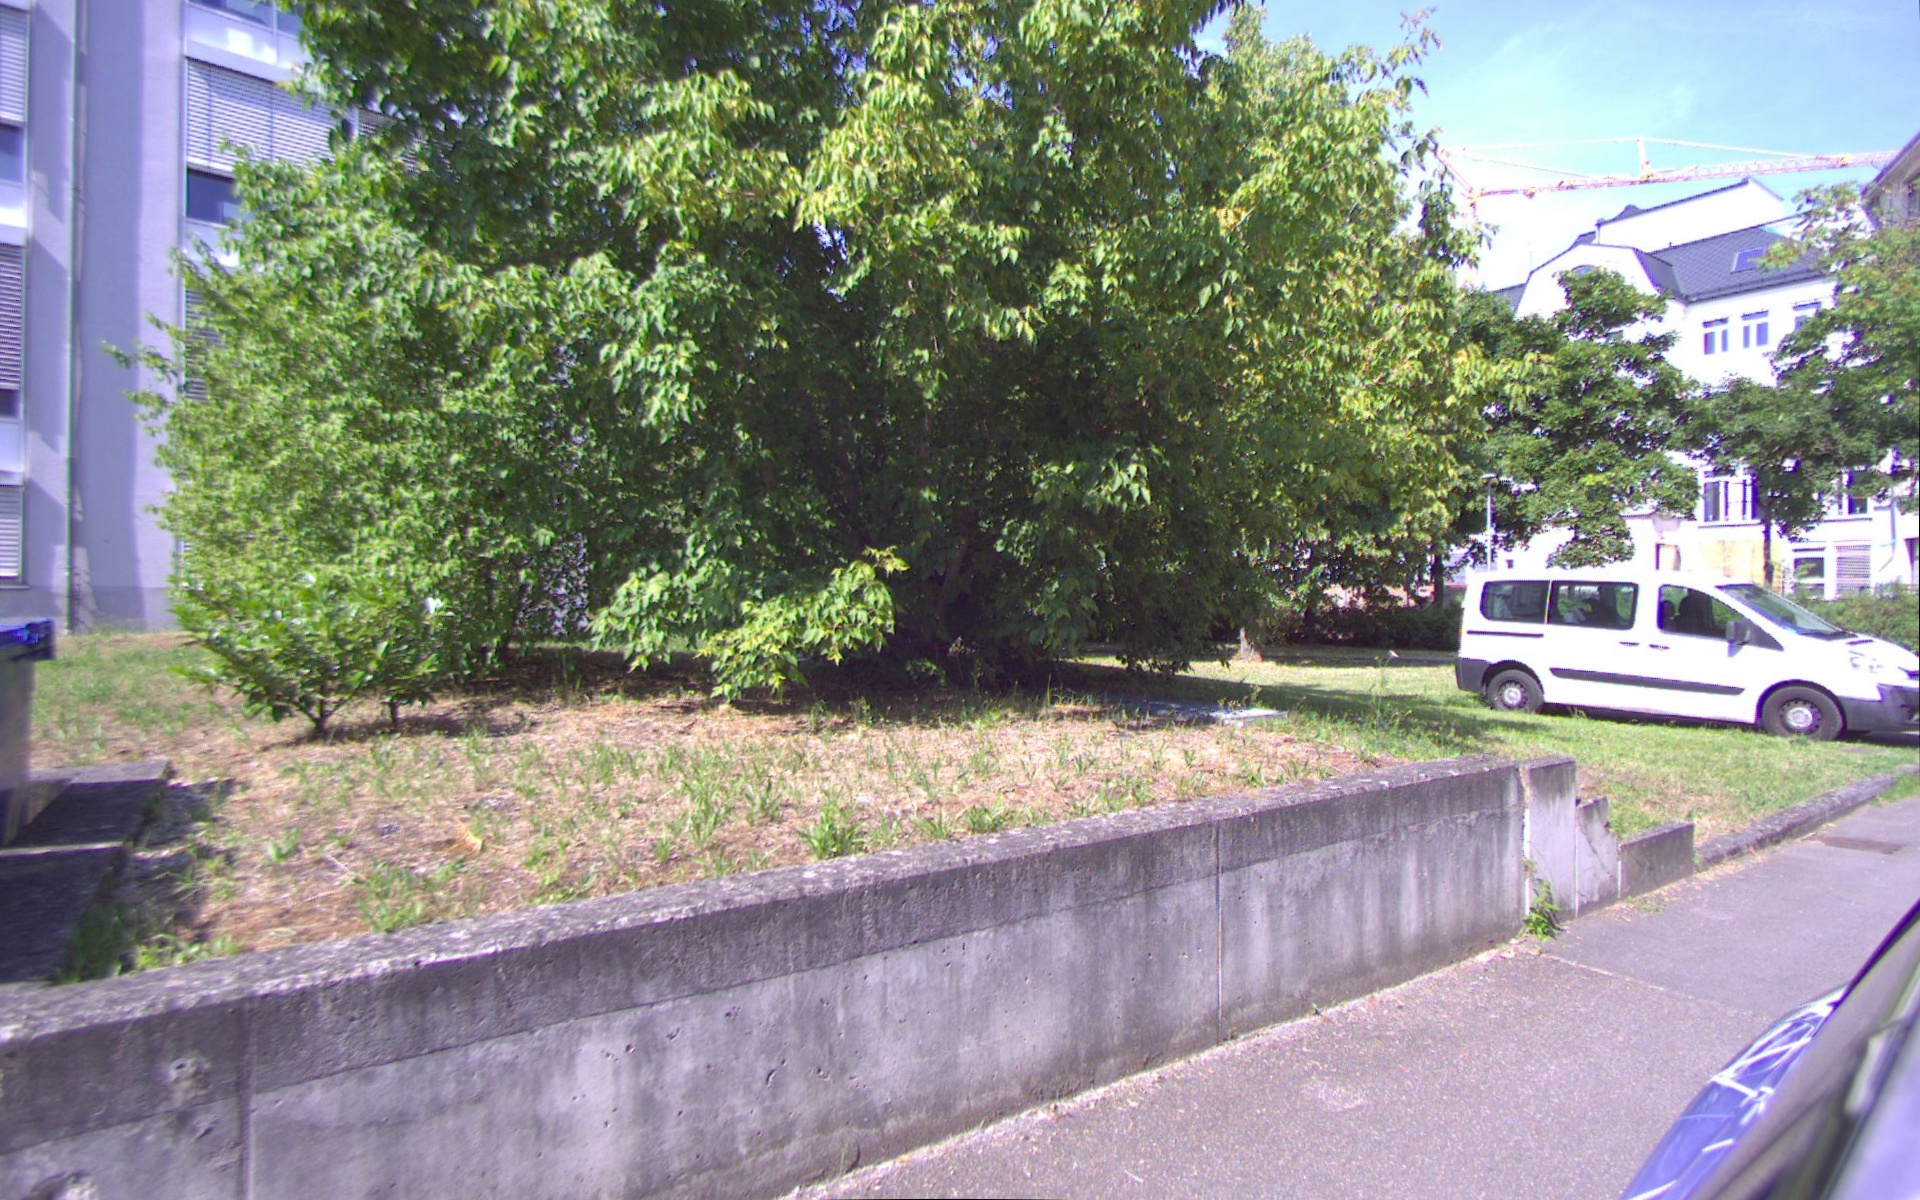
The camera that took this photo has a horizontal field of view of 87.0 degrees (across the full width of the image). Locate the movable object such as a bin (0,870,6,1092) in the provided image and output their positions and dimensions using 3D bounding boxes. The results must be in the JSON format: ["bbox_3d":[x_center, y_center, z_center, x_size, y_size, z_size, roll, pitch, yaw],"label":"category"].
[{"bbox_3d":[-2.628,0.636,1.797,1.120,1.335,1.252,-1,3,-33],"label":"movable object such as a bin"}]

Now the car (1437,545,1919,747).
[{"bbox_3d":[8.757,0.444,12.369,1.961,1.957,5.042,1,0,-33],"label":"car"}]

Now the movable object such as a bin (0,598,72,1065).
[{"bbox_3d":[-3.423,0.677,2.899,1.120,1.357,1.252,0,0,-32],"label":"movable object such as a bin"}]
